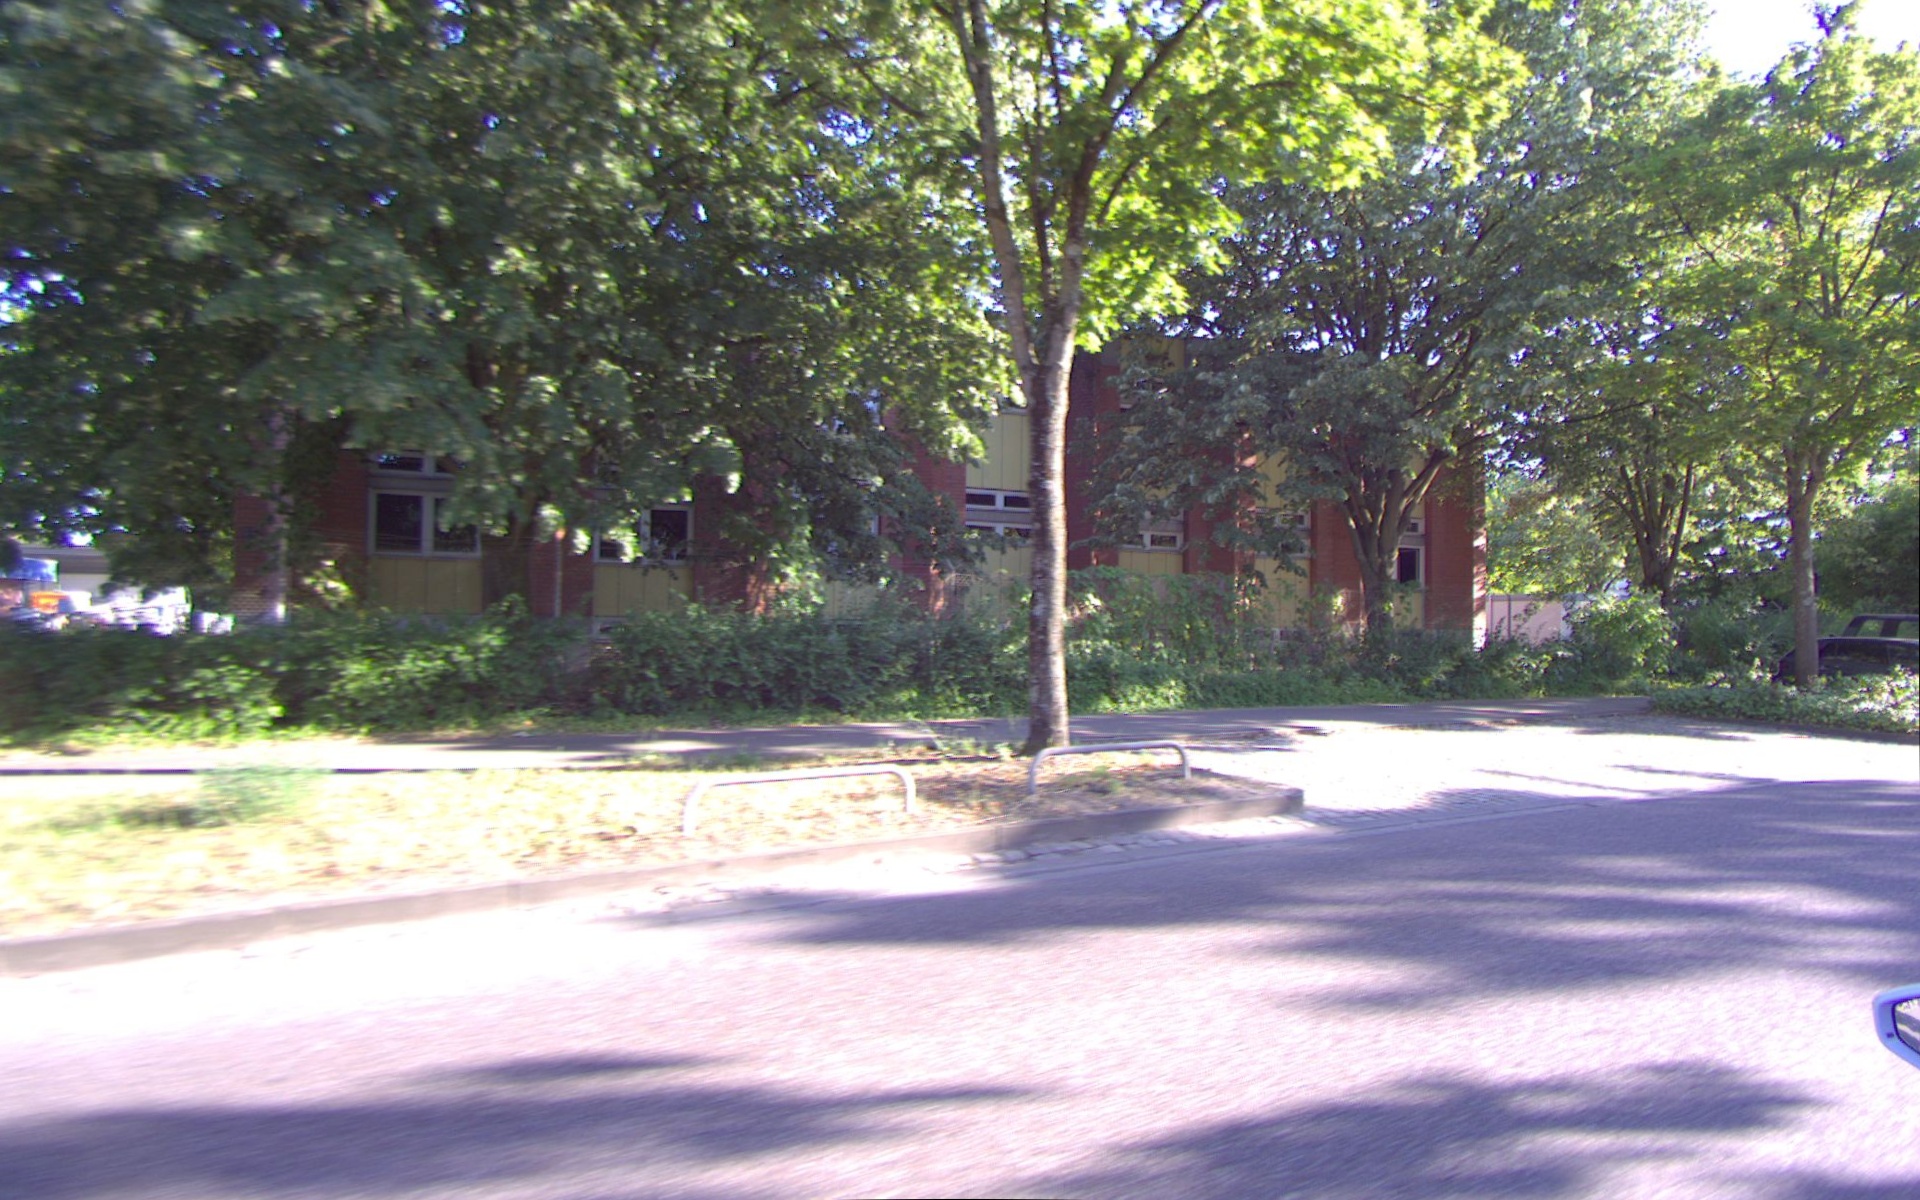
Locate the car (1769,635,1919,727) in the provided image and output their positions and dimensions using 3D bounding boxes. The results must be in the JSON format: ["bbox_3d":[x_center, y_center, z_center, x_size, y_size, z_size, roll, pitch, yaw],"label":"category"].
[{"bbox_3d":[17.215,1.431,17.796,1.684,1.550,4.196,1,-2,-27],"label":"car"}]

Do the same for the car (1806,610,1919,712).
[{"bbox_3d":[20.512,1.236,20.163,2.147,2.047,4.986,1,-2,-27],"label":"car"}]
